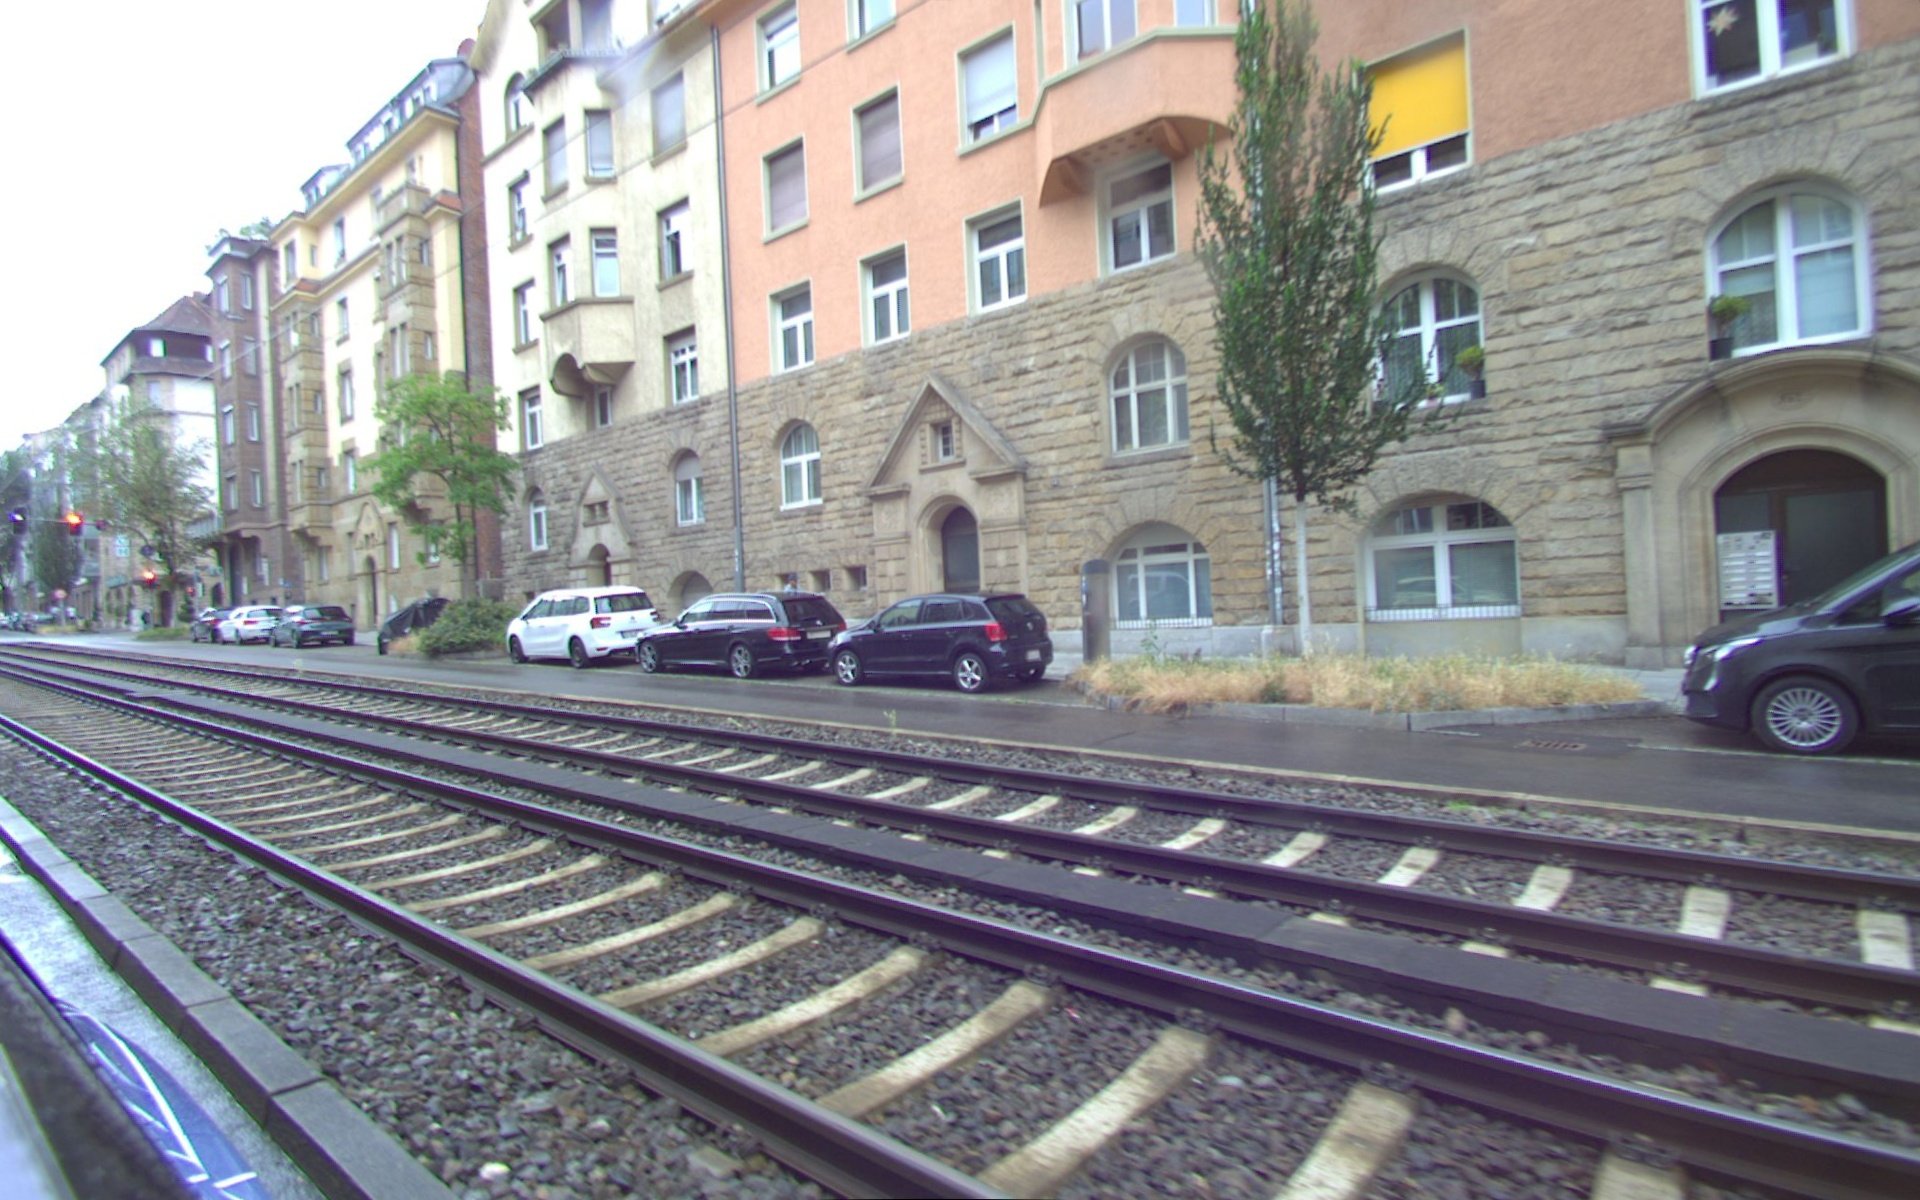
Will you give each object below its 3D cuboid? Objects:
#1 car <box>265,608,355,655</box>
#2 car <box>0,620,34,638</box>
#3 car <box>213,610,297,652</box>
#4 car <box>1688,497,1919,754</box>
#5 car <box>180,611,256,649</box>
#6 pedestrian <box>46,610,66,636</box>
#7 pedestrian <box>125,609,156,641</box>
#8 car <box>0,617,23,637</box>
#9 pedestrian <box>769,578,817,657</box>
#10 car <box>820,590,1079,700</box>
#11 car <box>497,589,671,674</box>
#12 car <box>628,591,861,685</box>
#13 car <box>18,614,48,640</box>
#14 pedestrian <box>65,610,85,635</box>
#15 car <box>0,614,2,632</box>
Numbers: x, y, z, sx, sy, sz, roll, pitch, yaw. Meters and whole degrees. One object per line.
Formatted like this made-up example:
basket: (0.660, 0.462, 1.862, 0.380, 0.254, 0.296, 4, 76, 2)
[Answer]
car: (-22.323, 1.060, 34.707, 3.845, 1.452, 1.656, -1, 1, 43)
car: (-72.897, 2.247, 78.225, 3.843, 1.321, 1.563, -1, 0, 41)
car: (-26.921, 1.175, 38.614, 4.030, 1.452, 1.748, -1, 1, 42)
car: (8.687, 0.178, 7.806, 4.823, 1.956, 1.973, -1, 0, 41)
car: (-30.777, 1.230, 41.939, 3.843, 1.452, 1.748, -1, 0, 41)
pedestrian: (-72.228, 1.839, 80.862, 1.163, 1.972, 1.042, -1, 0, 43)
pedestrian: (-53.360, 1.624, 65.916, 1.150, 1.972, 1.054, -2, 0, 9)
car: (-79.520, 2.256, 84.303, 3.843, 1.527, 1.748, -1, 0, 41)
pedestrian: (-3.584, 0.356, 21.706, 0.765, 1.654, 0.692, -1, 0, 41)
car: (-0.209, 0.631, 15.747, 3.638, 1.508, 1.912, -1, 0, 38)
car: (-8.393, 0.665, 22.448, 4.144, 1.668, 1.843, -1, 0, 41)
car: (-4.088, 0.660, 18.771, 4.599, 1.506, 1.824, -1, 0, 41)
car: (-67.652, 1.958, 73.856, 1.561, 1.691, 3.794, -2, 2, -43)
pedestrian: (-71.480, 1.831, 81.743, 1.163, 1.972, 1.042, -1, 0, 43)
car: (-88.237, 2.136, 91.761, 3.773, 1.611, 1.636, -1, 0, 41)
